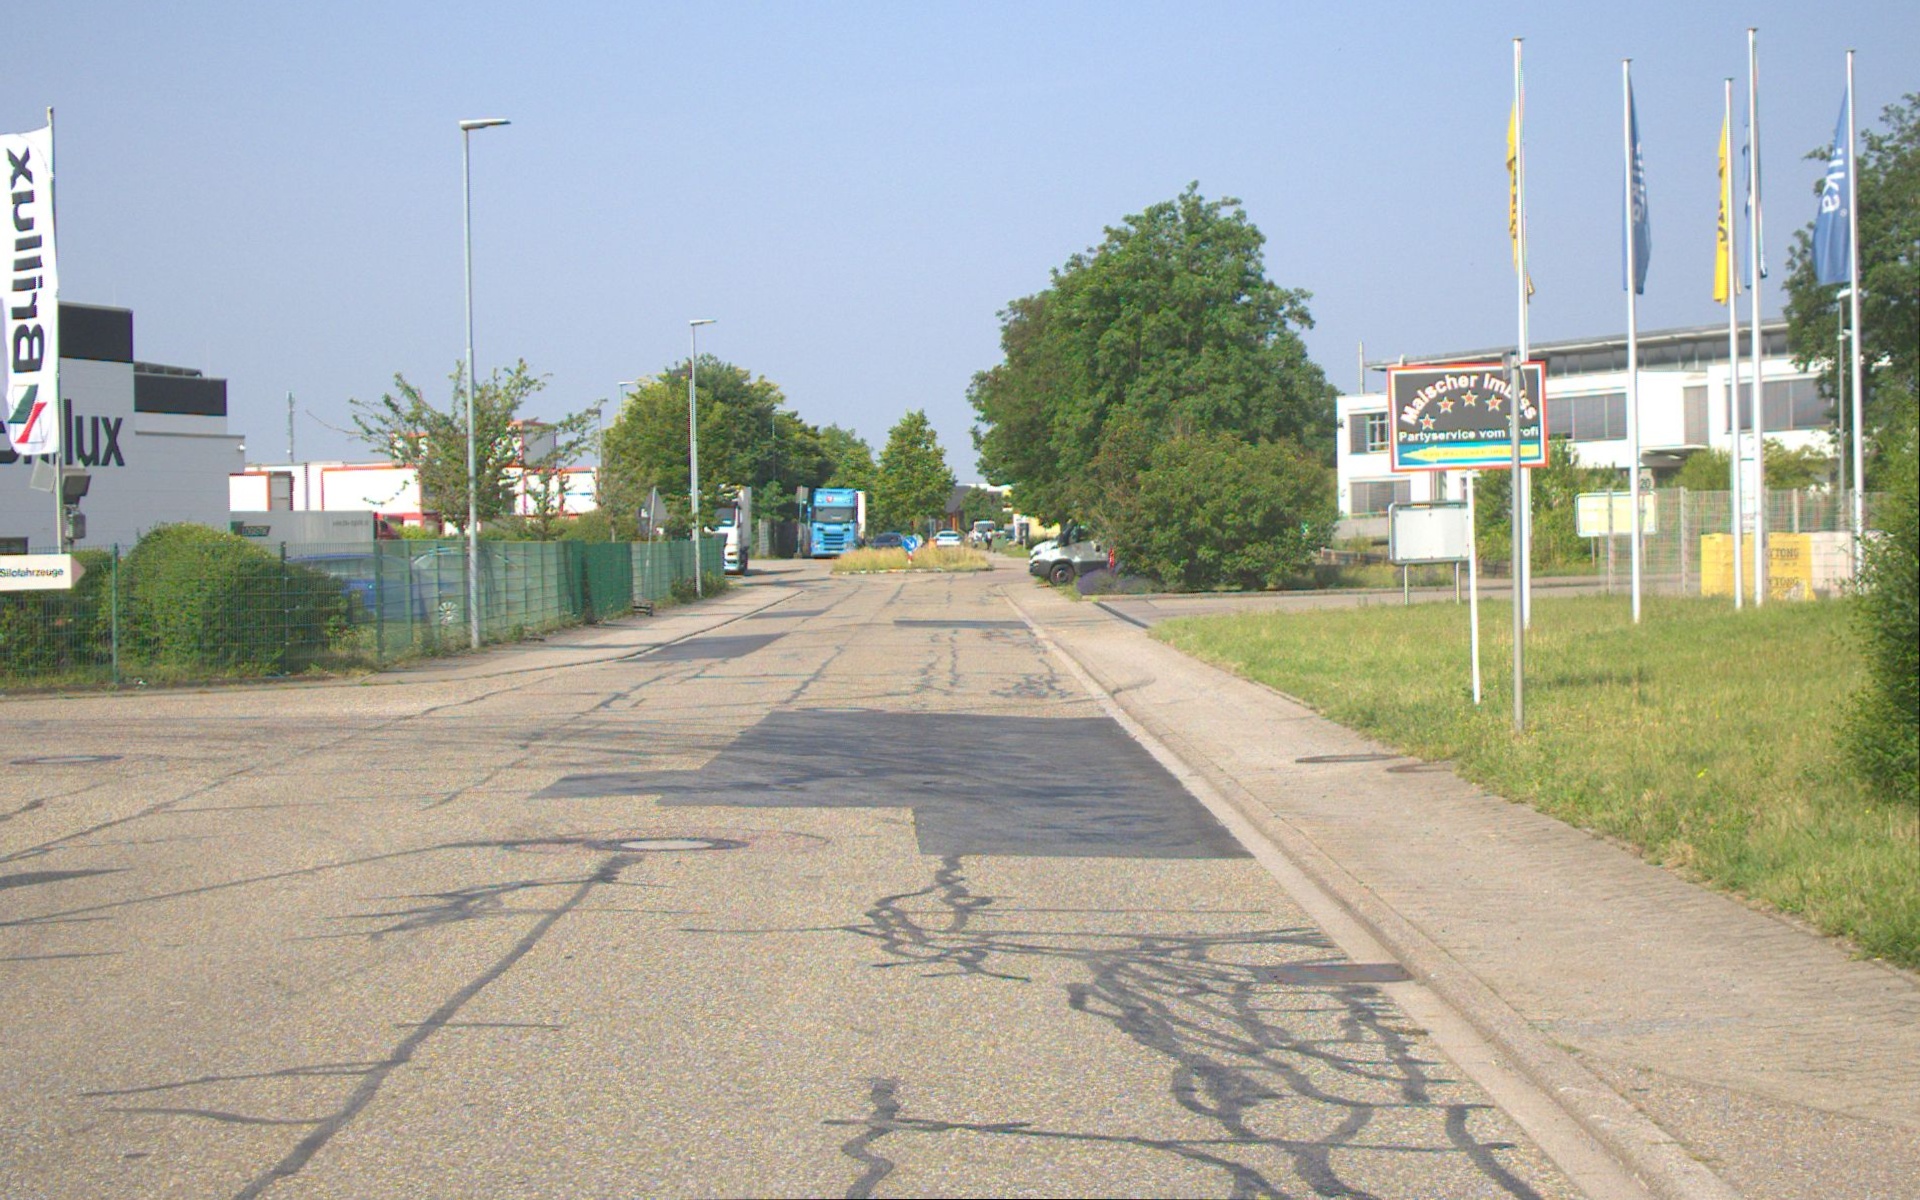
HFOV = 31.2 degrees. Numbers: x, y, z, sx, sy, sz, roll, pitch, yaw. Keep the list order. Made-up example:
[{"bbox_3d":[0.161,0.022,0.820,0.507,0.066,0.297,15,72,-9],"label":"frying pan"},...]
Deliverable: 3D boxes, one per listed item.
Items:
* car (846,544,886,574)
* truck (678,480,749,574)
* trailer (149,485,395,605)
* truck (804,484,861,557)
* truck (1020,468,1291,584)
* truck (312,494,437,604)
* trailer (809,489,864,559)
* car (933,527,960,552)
[{"bbox_3d":[-4.853,-2.129,177.327,1.993,1.444,4.420,-3,1,-2],"label":"car"},{"bbox_3d":[-10.535,-3.086,147.372,2.708,3.908,4.297,1,0,-1],"label":"truck"},{"bbox_3d":[-24.281,-1.848,122.436,2.484,4.028,13.878,1,0,16],"label":"trailer"},{"bbox_3d":[-7.092,-4.376,191.671,2.825,3.812,9.673,1,0,0],"label":"truck"},{"bbox_3d":[6.067,-2.284,107.548,8.208,3.359,2.741,-2,0,-1],"label":"truck"},{"bbox_3d":[-22.137,-1.900,130.272,2.514,4.057,5.539,1,0,15],"label":"truck"},{"bbox_3d":[-7.181,-4.404,201.734,2.831,3.830,12.036,1,0,0],"label":"trailer"},{"bbox_3d":[-0.952,-4.200,237.926,1.718,1.655,3.824,1,0,-2],"label":"car"}]
